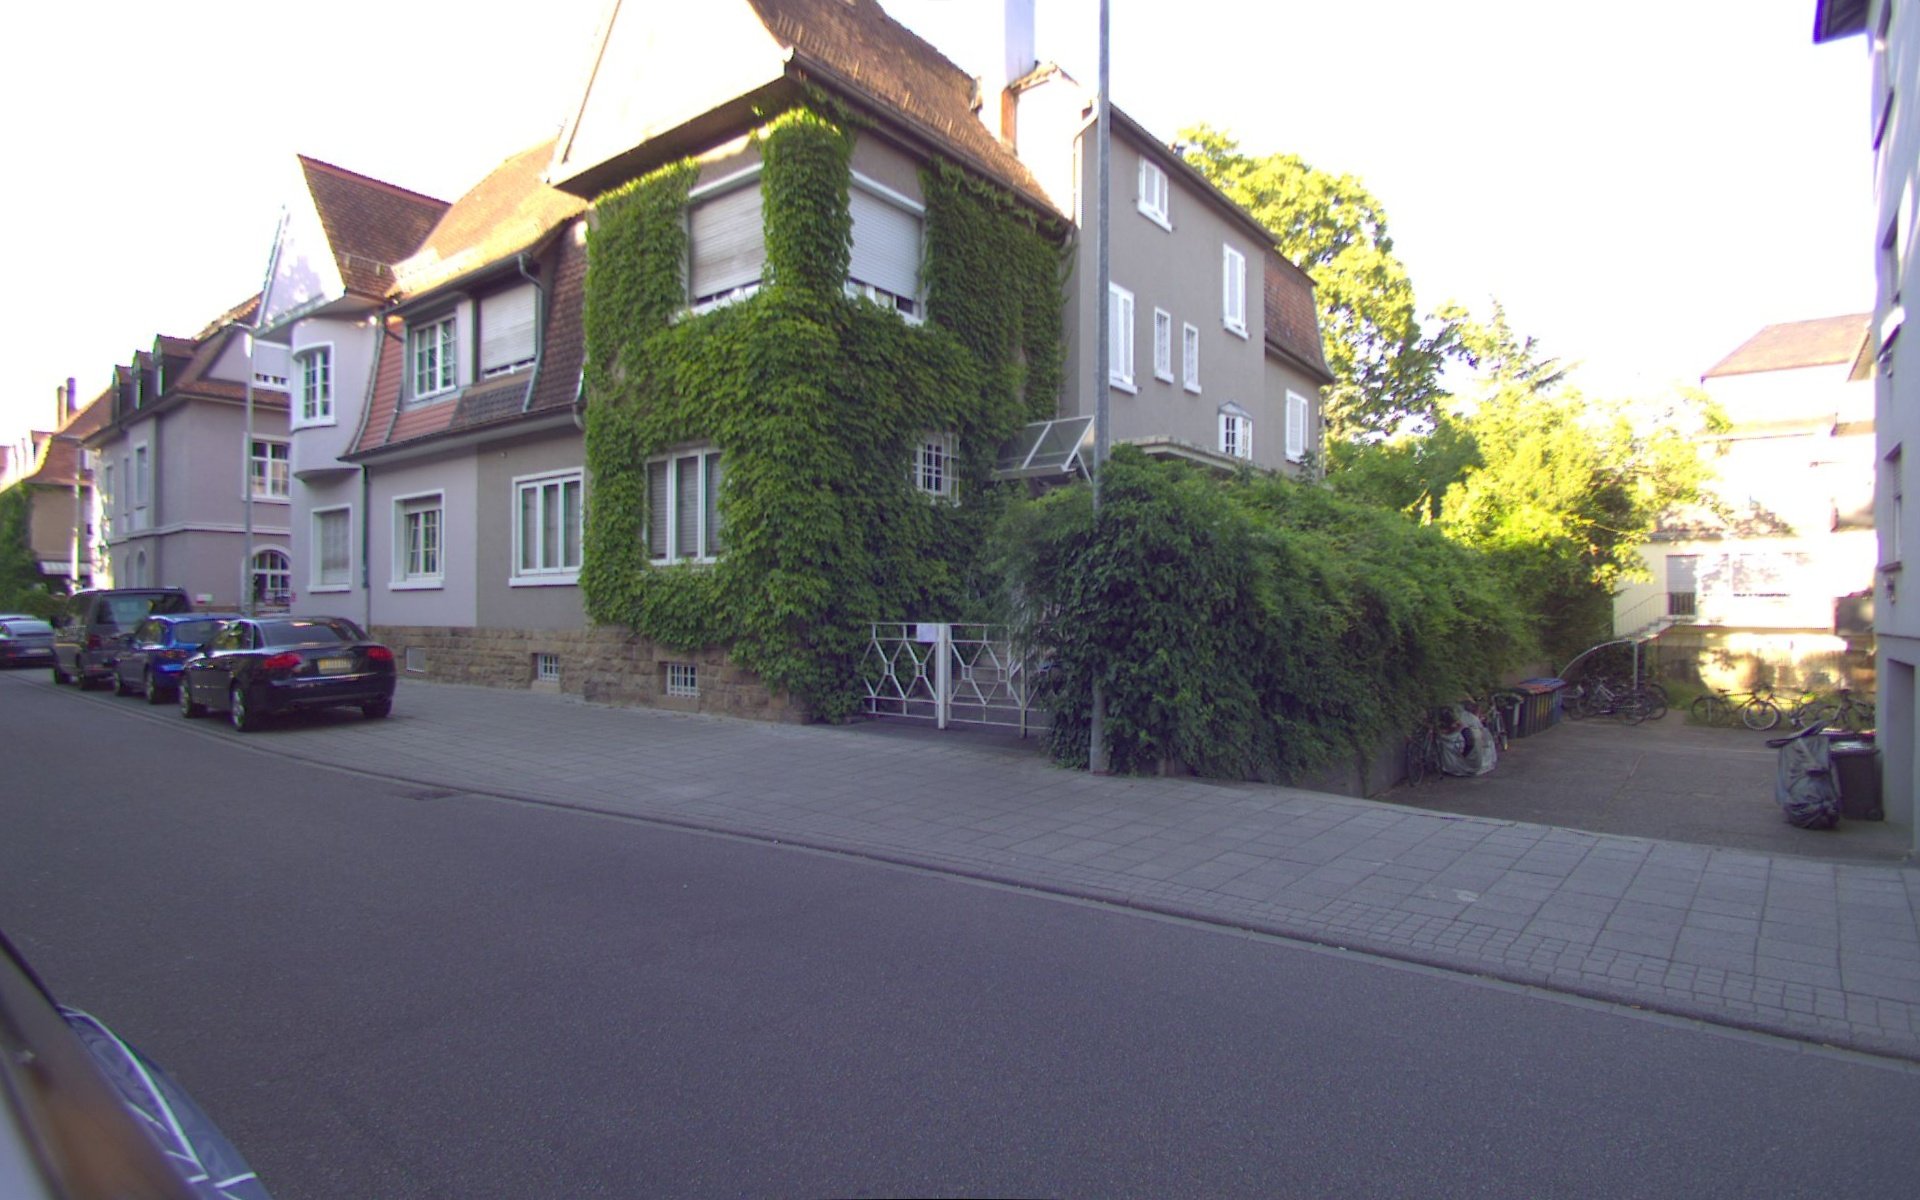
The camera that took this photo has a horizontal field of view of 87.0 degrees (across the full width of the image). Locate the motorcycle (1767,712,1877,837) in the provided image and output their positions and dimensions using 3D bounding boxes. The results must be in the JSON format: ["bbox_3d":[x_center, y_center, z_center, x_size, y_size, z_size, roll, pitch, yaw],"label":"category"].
[{"bbox_3d":[10.707,2.124,12.626,0.742,1.305,1.565,-1,-2,30],"label":"motorcycle"}]

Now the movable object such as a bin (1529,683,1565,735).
[{"bbox_3d":[13.177,2.429,22.717,0.611,1.123,0.792,-1,-4,37],"label":"movable object such as a bin"}]

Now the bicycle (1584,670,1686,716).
[{"bbox_3d":[19.199,2.619,28.830,2.338,1.186,0.685,-1,-4,42],"label":"bicycle"}]

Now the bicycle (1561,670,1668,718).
[{"bbox_3d":[17.506,2.495,27.116,2.338,1.142,0.685,-1,-4,42],"label":"bicycle"}]

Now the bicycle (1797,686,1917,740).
[{"bbox_3d":[20.370,2.556,23.027,2.005,1.080,0.558,-1,-4,42],"label":"bicycle"}]

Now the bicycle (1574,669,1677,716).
[{"bbox_3d":[18.616,2.577,28.336,2.338,1.186,0.685,-1,-4,42],"label":"bicycle"}]

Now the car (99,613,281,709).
[{"bbox_3d":[-13.637,0.989,17.846,4.060,1.457,1.745,-1,1,41],"label":"car"}]

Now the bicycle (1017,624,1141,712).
[{"bbox_3d":[1.701,0.911,14.187,0.476,1.111,2.172,-1,-1,45],"label":"bicycle"}]

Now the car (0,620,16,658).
[{"bbox_3d":[-36.325,1.453,37.509,3.676,1.372,1.641,-1,1,42],"label":"car"}]

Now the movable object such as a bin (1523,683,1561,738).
[{"bbox_3d":[12.701,2.394,22.075,0.611,1.123,0.792,-1,-4,37],"label":"movable object such as a bin"}]

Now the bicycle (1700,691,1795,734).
[{"bbox_3d":[18.893,2.682,24.301,1.754,0.886,0.558,-1,-4,42],"label":"bicycle"}]

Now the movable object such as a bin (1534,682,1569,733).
[{"bbox_3d":[13.648,2.463,23.348,0.611,1.123,0.792,-1,-4,37],"label":"movable object such as a bin"}]

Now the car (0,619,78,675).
[{"bbox_3d":[-26.159,1.276,28.298,4.063,1.394,1.906,-1,1,44],"label":"car"}]

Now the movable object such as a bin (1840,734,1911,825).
[{"bbox_3d":[11.716,2.280,12.967,0.611,1.045,0.532,-1,-4,37],"label":"movable object such as a bin"}]

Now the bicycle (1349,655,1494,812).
[{"bbox_3d":[6.824,1.793,14.754,0.971,1.907,4.138,-1,-3,38],"label":"bicycle"}]

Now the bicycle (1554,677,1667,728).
[{"bbox_3d":[16.240,2.539,25.303,2.294,1.142,0.685,-1,-4,42],"label":"bicycle"}]

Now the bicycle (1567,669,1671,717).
[{"bbox_3d":[18.057,2.529,27.768,2.338,1.186,0.685,-1,-4,42],"label":"bicycle"}]

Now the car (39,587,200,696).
[{"bbox_3d":[-17.525,0.796,21.016,4.610,1.990,1.819,-1,1,41],"label":"car"}]

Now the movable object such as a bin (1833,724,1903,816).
[{"bbox_3d":[12.298,2.285,13.728,0.611,1.123,0.792,-1,-4,37],"label":"movable object such as a bin"}]

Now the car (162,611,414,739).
[{"bbox_3d":[-9.423,0.917,14.050,4.426,1.457,1.783,-1,1,41],"label":"car"}]

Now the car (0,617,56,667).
[{"bbox_3d":[-30.173,1.308,32.031,4.061,1.478,1.907,-1,1,42],"label":"car"}]
